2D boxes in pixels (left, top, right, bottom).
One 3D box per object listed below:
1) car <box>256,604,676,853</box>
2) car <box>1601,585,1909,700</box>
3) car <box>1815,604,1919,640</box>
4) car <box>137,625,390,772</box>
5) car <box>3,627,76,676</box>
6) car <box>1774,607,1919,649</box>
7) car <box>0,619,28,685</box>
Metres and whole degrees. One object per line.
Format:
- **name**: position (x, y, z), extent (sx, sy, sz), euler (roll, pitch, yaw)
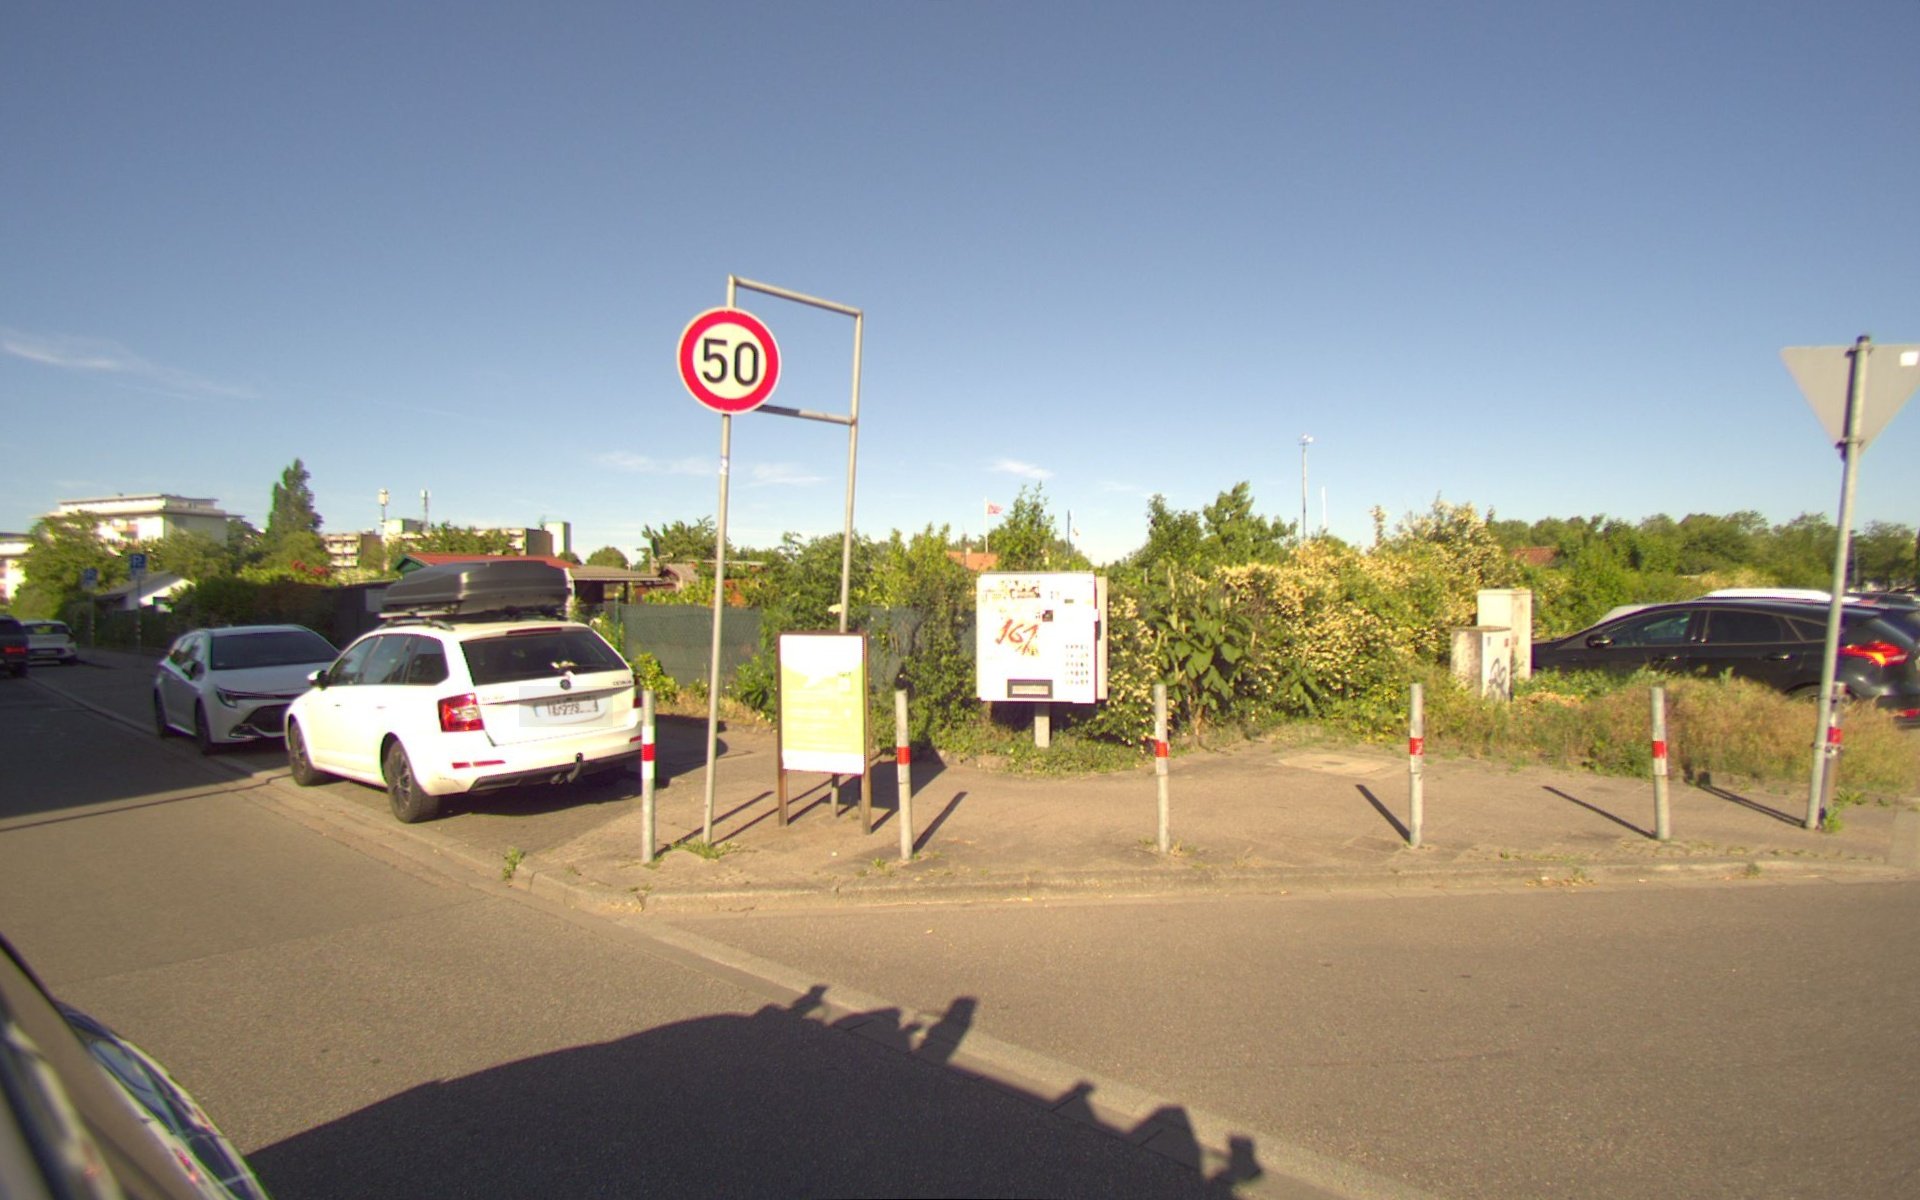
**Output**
- **car**: position (-4.439, 0.901, 8.708), extent (4.517, 1.524, 1.678), euler (-2, 1, 43)
- **car**: position (13.256, 0.679, 17.058), extent (1.487, 1.707, 3.851), euler (0, -1, -41)
- **car**: position (33.946, 0.813, 37.148), extent (3.845, 1.273, 1.490), euler (-1, -4, 42)
- **car**: position (-9.121, 1.124, 13.088), extent (4.542, 1.456, 1.728), euler (-2, 2, 44)
- **car**: position (-30.433, 1.665, 33.426), extent (3.401, 1.499, 1.511), euler (-2, -1, 43)
- **car**: position (28.683, 0.905, 32.535), extent (3.845, 1.273, 1.490), euler (-1, -4, 42)
- **car**: position (-27.603, 1.425, 27.906), extent (4.829, 1.740, 1.925), euler (-2, -2, 36)
